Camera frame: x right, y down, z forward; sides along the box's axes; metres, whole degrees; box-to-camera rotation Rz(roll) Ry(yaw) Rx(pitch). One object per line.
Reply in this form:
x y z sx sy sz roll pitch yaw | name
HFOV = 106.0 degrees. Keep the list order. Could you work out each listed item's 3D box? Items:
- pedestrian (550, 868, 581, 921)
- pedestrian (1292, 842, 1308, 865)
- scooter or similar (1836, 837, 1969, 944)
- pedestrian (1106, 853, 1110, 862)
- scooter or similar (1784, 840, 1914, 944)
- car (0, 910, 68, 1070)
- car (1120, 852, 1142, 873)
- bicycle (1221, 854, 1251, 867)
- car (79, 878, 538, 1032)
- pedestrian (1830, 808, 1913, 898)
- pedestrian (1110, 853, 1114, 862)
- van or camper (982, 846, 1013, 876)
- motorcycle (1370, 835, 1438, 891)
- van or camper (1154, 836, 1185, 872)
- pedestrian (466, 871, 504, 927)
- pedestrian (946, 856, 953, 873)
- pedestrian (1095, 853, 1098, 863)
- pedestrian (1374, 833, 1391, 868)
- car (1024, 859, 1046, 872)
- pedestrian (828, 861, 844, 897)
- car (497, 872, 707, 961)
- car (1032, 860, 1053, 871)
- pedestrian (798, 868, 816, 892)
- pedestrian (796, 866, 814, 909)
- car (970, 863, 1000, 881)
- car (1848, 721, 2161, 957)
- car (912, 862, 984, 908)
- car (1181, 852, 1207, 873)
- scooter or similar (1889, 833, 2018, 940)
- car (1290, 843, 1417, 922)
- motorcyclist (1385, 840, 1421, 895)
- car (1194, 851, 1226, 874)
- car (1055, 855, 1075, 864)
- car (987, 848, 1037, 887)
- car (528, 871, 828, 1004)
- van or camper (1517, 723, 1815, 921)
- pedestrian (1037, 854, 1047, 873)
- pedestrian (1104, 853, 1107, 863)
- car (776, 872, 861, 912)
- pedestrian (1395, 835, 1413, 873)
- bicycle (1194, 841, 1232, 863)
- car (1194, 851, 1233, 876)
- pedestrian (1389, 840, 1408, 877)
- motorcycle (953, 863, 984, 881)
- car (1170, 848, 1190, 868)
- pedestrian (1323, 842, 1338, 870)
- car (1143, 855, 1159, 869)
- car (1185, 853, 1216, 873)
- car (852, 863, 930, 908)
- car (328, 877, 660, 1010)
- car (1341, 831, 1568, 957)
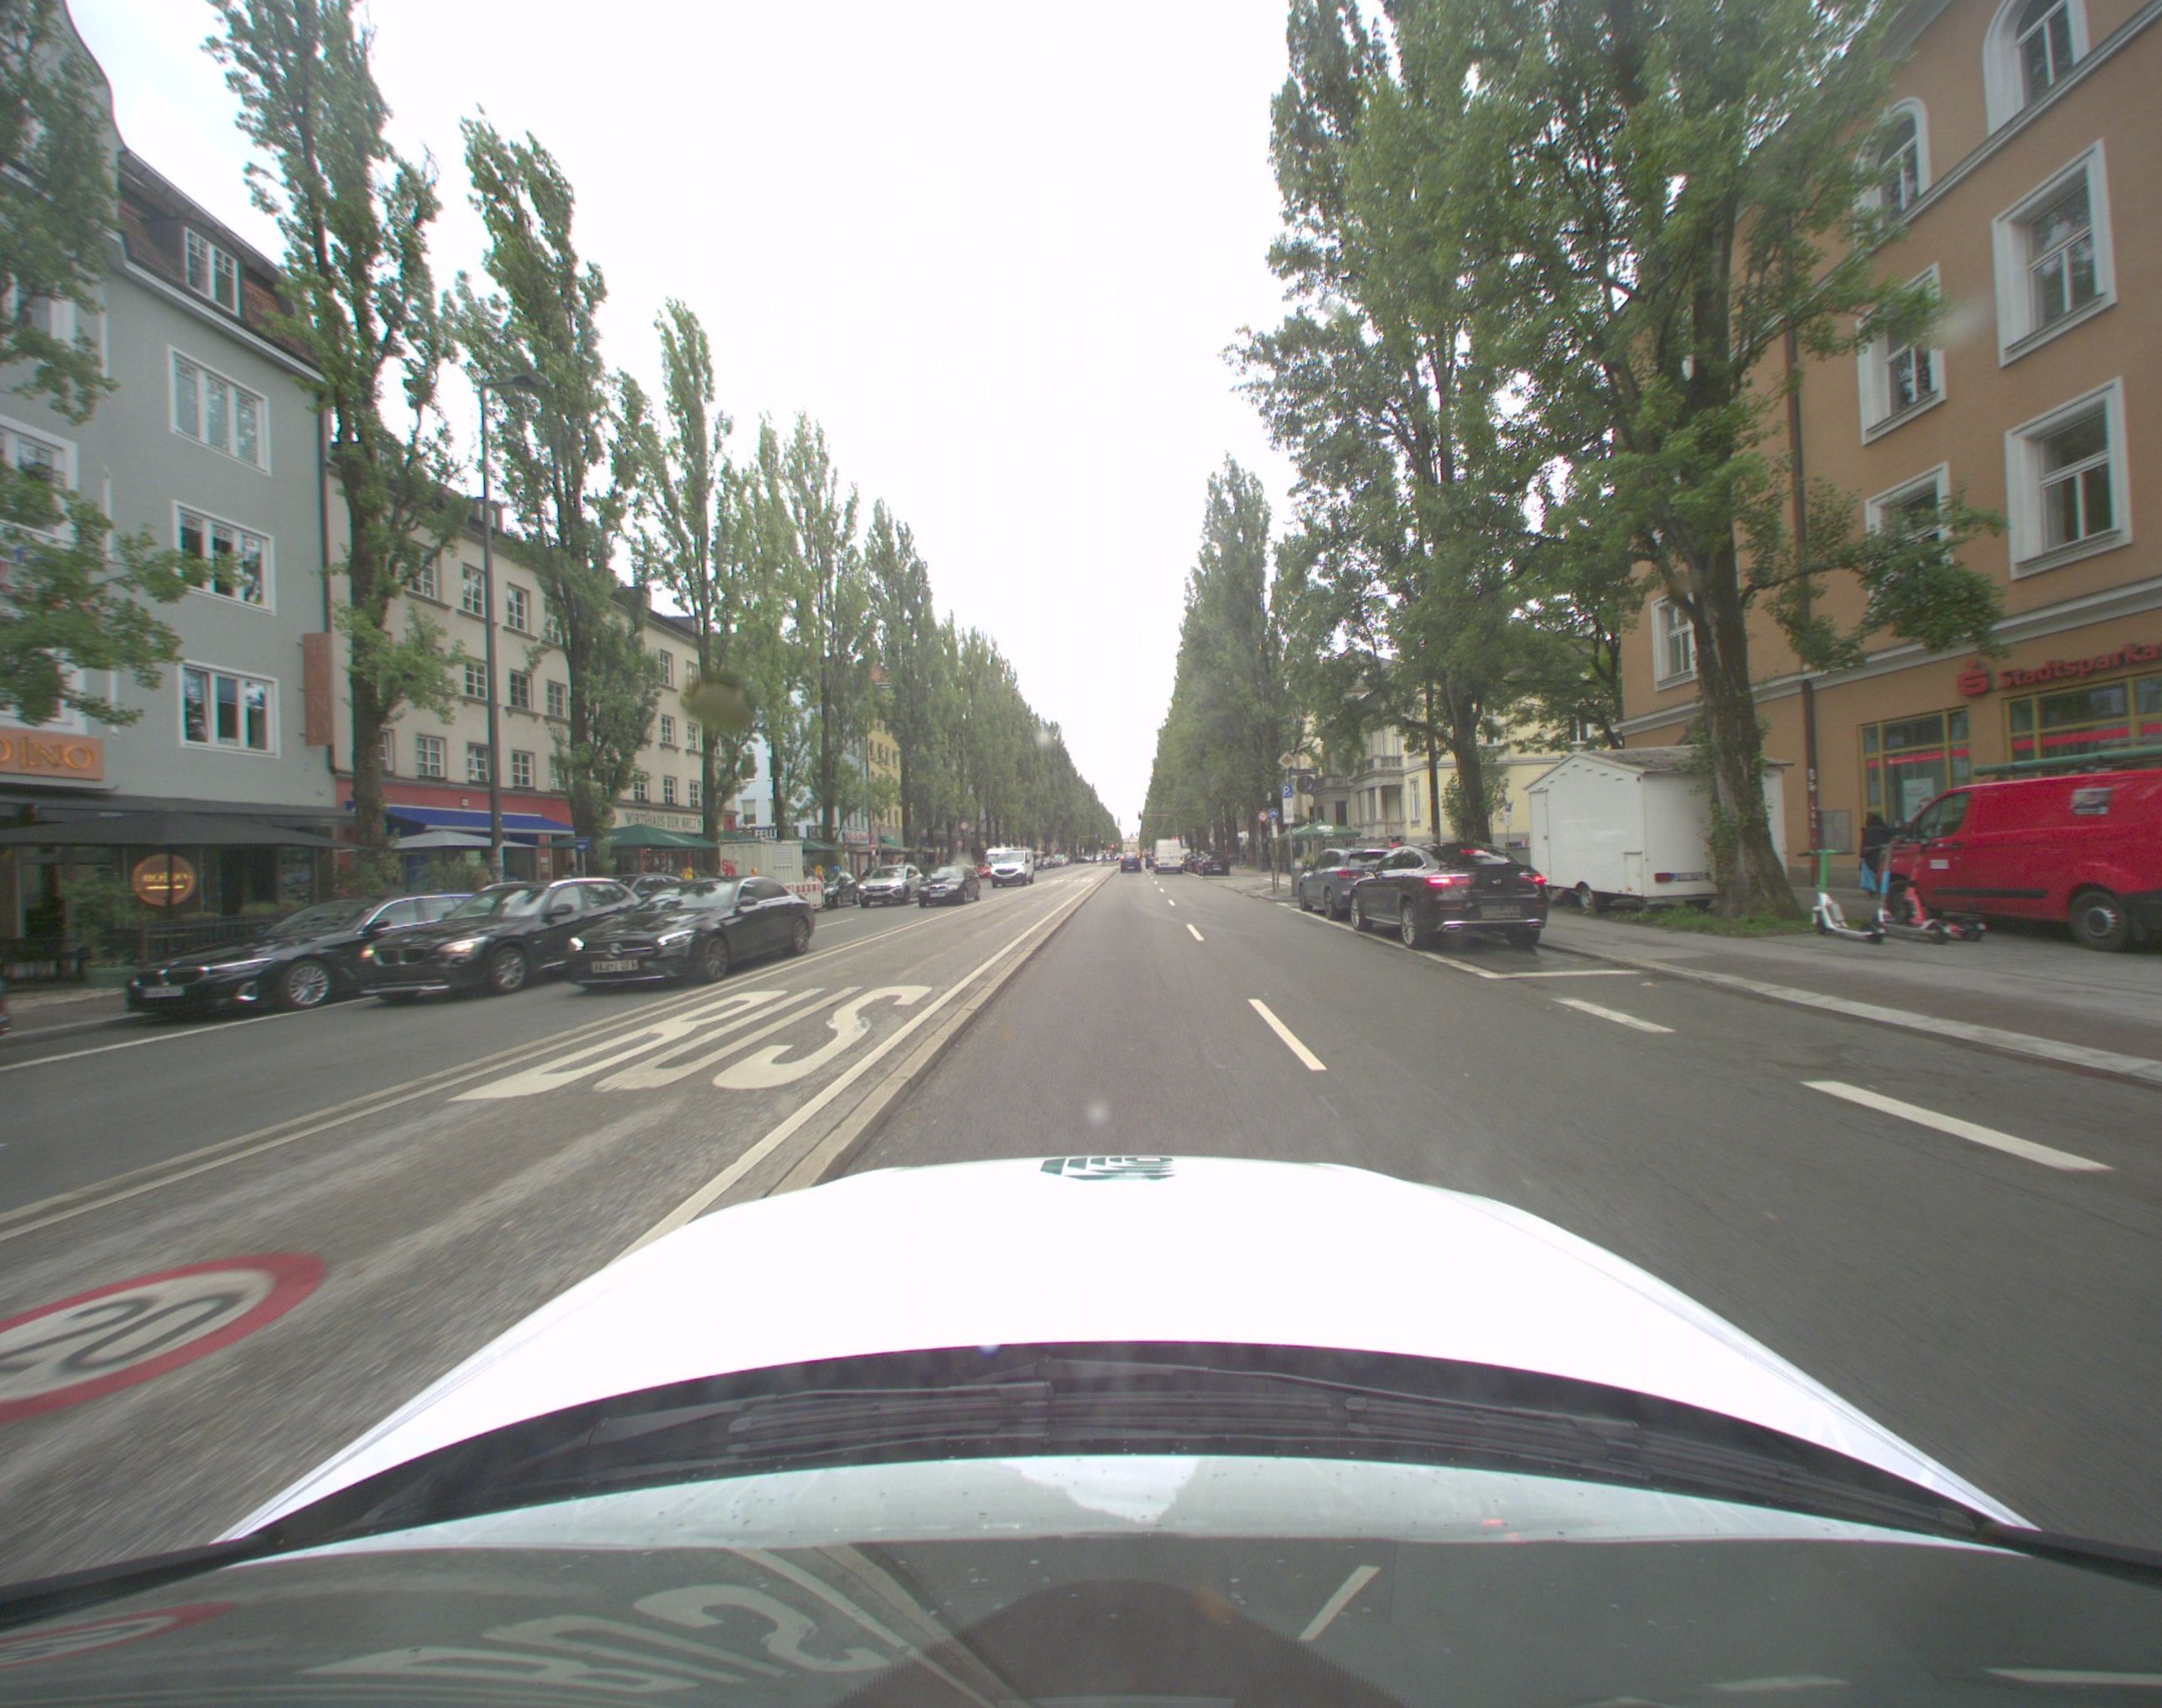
-18.899 1.472 29.862 0.635 1.862 0.648 -3 0 3 | pedestrian
17.358 -0.013 64.496 0.805 1.755 0.939 -3 0 35 | pedestrian
10.365 0.426 10.332 0.482 1.232 1.412 -5 -1 16 | scooter or similar
6.123 0.766 184.922 0.767 2.014 0.898 -1 -1 3 | pedestrian
9.896 0.457 10.559 0.521 1.232 1.483 -5 -1 16 | scooter or similar
-11.385 1.369 6.096 1.985 1.482 4.325 -3 0 4 | car
4.150 0.712 67.467 1.751 1.619 3.750 -1 -1 4 | car
12.892 0.553 67.712 0.764 1.023 2.706 -2 0 -32 | bicycle
-11.051 1.309 12.355 1.984 1.596 4.897 -3 0 4 | car
15.077 -0.019 15.553 0.727 1.626 0.805 -3 0 3 | pedestrian
5.580 0.650 146.131 0.550 1.716 0.493 -3 0 4 | pedestrian
-7.369 0.583 72.029 1.985 2.458 4.254 -2 0 3 | van or camper
8.514 0.229 21.596 0.824 1.370 2.252 -3 0 0 | motorcycle
6.584 0.038 61.020 2.026 2.475 4.003 -2 -2 3 | van or camper
-18.808 1.397 25.691 0.635 1.700 0.648 -3 0 3 | pedestrian
-14.040 1.134 87.164 0.579 1.856 0.675 -2 0 2 | pedestrian
2.745 0.748 144.975 0.550 1.716 0.493 -3 0 4 | pedestrian
14.813 -0.165 40.042 0.643 1.647 0.768 -1 -1 12 | pedestrian
-5.483 1.399 97.958 1.983 1.420 4.007 -1 -1 7 | car
-12.359 1.238 41.070 0.665 1.787 0.826 -1 -1 -13 | pedestrian
-10.535 1.299 18.377 1.840 1.564 4.338 -3 0 4 | car
-4.924 1.501 104.580 1.983 1.420 4.007 -1 -1 7 | car
-18.053 1.715 53.766 0.791 1.542 0.899 -2 0 3 | pedestrian
-11.157 1.342 32.936 0.479 1.701 0.576 -2 0 3 | pedestrian
-7.699 1.433 65.612 1.788 1.429 4.003 -1 -1 3 | car
12.130 -0.219 9.928 1.887 2.328 4.844 -3 0 15 | car
-4.642 1.041 28.949 1.705 1.414 3.725 -3 0 2 | car
9.293 0.711 67.283 1.797 1.596 4.003 -1 -1 3 | car
10.827 0.375 10.152 0.482 1.232 1.173 -5 -1 16 | scooter or similar
6.192 0.587 19.033 1.617 1.565 4.374 -3 0 3 | car
8.528 0.347 21.599 0.562 1.406 0.766 -3 0 -1 | motorcyclist
9.116 0.560 57.874 1.777 1.525 3.943 -2 0 3 | car
-3.278 1.068 166.369 3.980 1.745 1.996 -1 -1 -5 | car
-3.822 0.736 45.678 1.985 1.934 4.922 -4 -1 3 | car
-5.796 1.100 12.591 1.985 1.432 4.776 -4 0 3 | car
10.848 -0.523 15.726 2.449 3.112 4.720 -3 0 4 | van or camper
-4.161 1.010 87.228 0.815 2.013 0.712 -2 0 -32 | pedestrian
4.346 0.759 144.350 0.550 1.716 0.493 -3 0 4 | pedestrian
-9.788 1.397 30.692 1.803 1.250 3.703 -2 0 2 | car
15.915 0.012 40.156 0.696 1.873 0.768 -1 -1 12 | pedestrian
12.868 -0.202 79.207 3.525 2.014 1.301 -1 -1 12 | bicycle
8.465 0.564 52.262 1.936 1.467 4.002 -3 0 2 | car
14.184 0.197 36.395 0.662 1.650 0.630 -3 0 30 | pedestrian
-8.194 1.307 59.420 1.231 1.140 3.725 -2 0 8 | motorcycle
10.297 0.444 84.672 1.797 1.992 4.003 -1 -1 3 | car
16.985 0.146 55.441 0.758 1.853 0.740 -3 0 0 | pedestrian
7.045 0.793 82.326 1.497 1.313 3.286 -2 0 3 | car
9.220 0.683 62.979 1.985 1.464 4.003 -1 -1 3 | car
-7.258 1.166 31.566 1.818 1.532 4.003 -3 -1 3 | car
-8.612 1.205 12.526 1.841 1.564 4.215 -3 -1 3 | car
5.831 0.543 13.430 1.872 1.642 4.588 -3 0 4 | car
